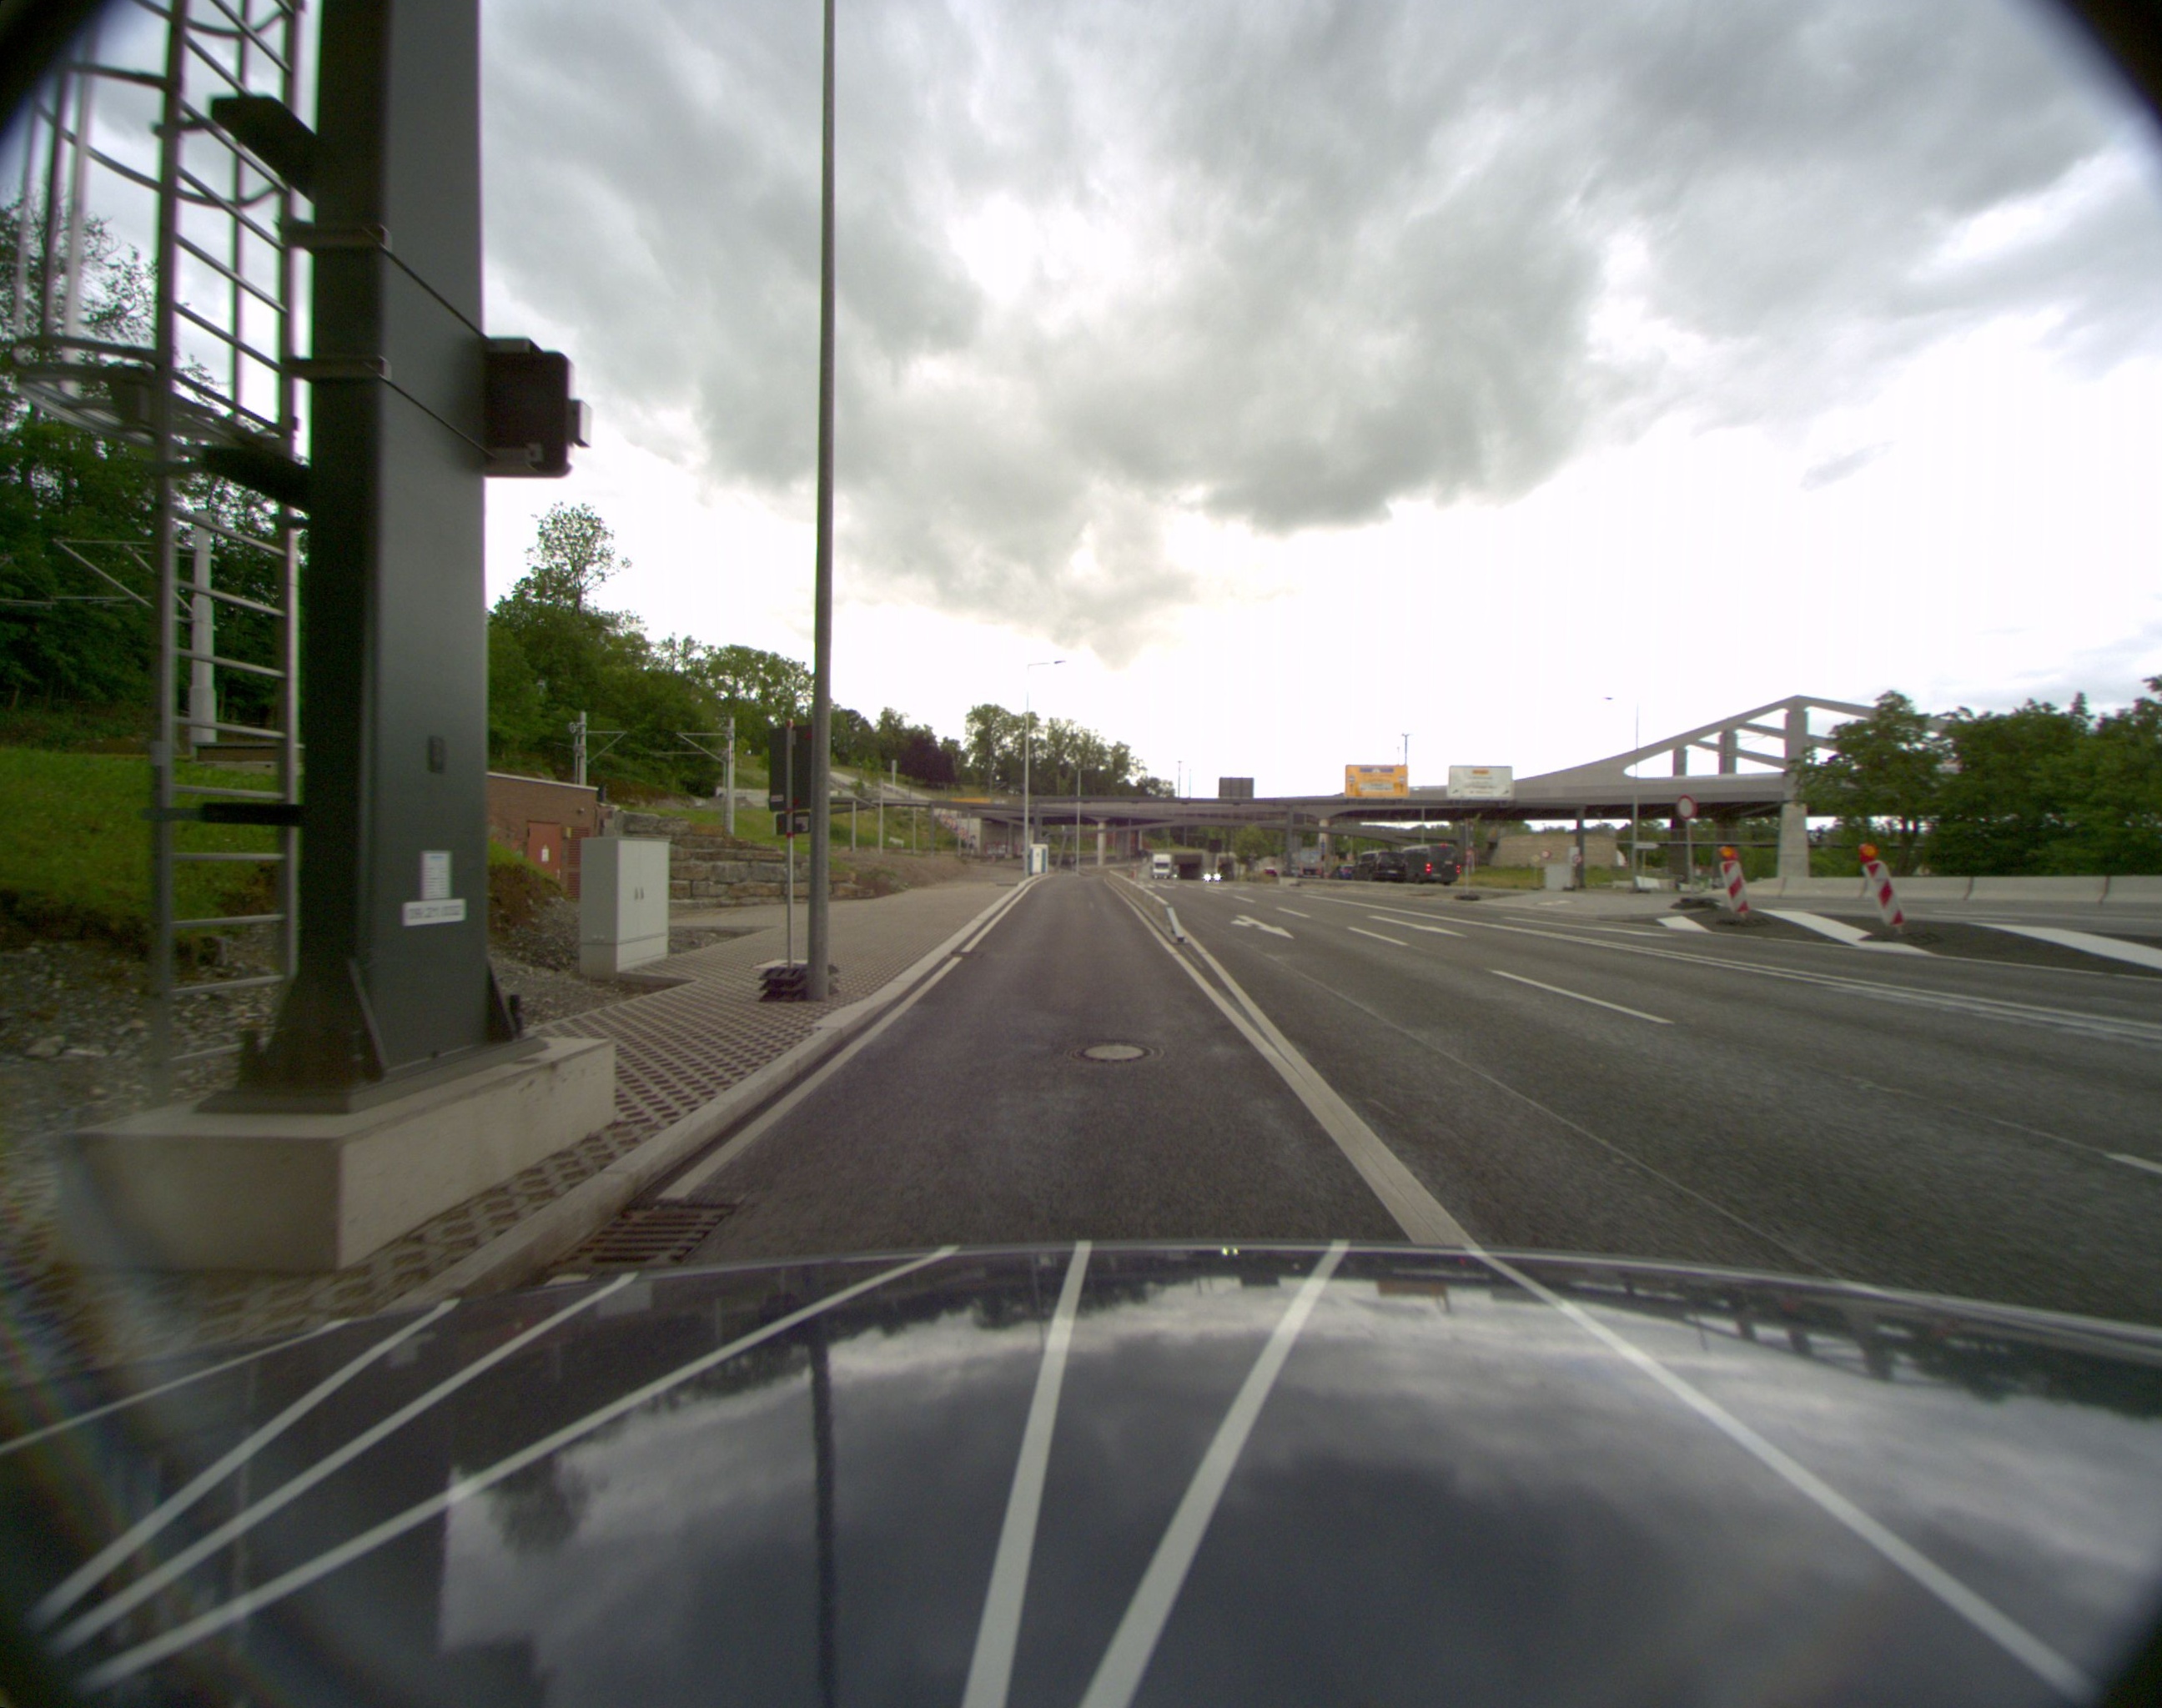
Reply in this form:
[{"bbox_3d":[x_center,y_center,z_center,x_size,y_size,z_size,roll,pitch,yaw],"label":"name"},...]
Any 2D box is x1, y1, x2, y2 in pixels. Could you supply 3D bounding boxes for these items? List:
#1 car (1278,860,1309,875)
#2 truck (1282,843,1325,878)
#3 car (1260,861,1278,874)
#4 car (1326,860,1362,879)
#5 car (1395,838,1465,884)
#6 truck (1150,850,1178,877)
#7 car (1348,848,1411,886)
[{"bbox_3d":[20.722,1.366,74.210,1.890,1.323,4.258,1,-2,2],"label":"car"},{"bbox_3d":[27.779,1.017,95.547,2.904,4.036,14.001,1,-2,7],"label":"truck"},{"bbox_3d":[24.831,1.767,100.427,1.709,1.610,4.456,4,-1,7],"label":"car"},{"bbox_3d":[24.717,1.459,71.535,1.890,1.673,4.489,-1,-1,1],"label":"car"},{"bbox_3d":[22.506,0.472,49.341,2.219,2.760,6.148,-1,-1,5],"label":"car"},{"bbox_3d":[9.896,1.132,91.409,2.748,3.108,8.122,-1,-1,2],"label":"truck"},{"bbox_3d":[18.295,0.739,46.830,1.967,2.002,5.189,2,2,2],"label":"car"}]
